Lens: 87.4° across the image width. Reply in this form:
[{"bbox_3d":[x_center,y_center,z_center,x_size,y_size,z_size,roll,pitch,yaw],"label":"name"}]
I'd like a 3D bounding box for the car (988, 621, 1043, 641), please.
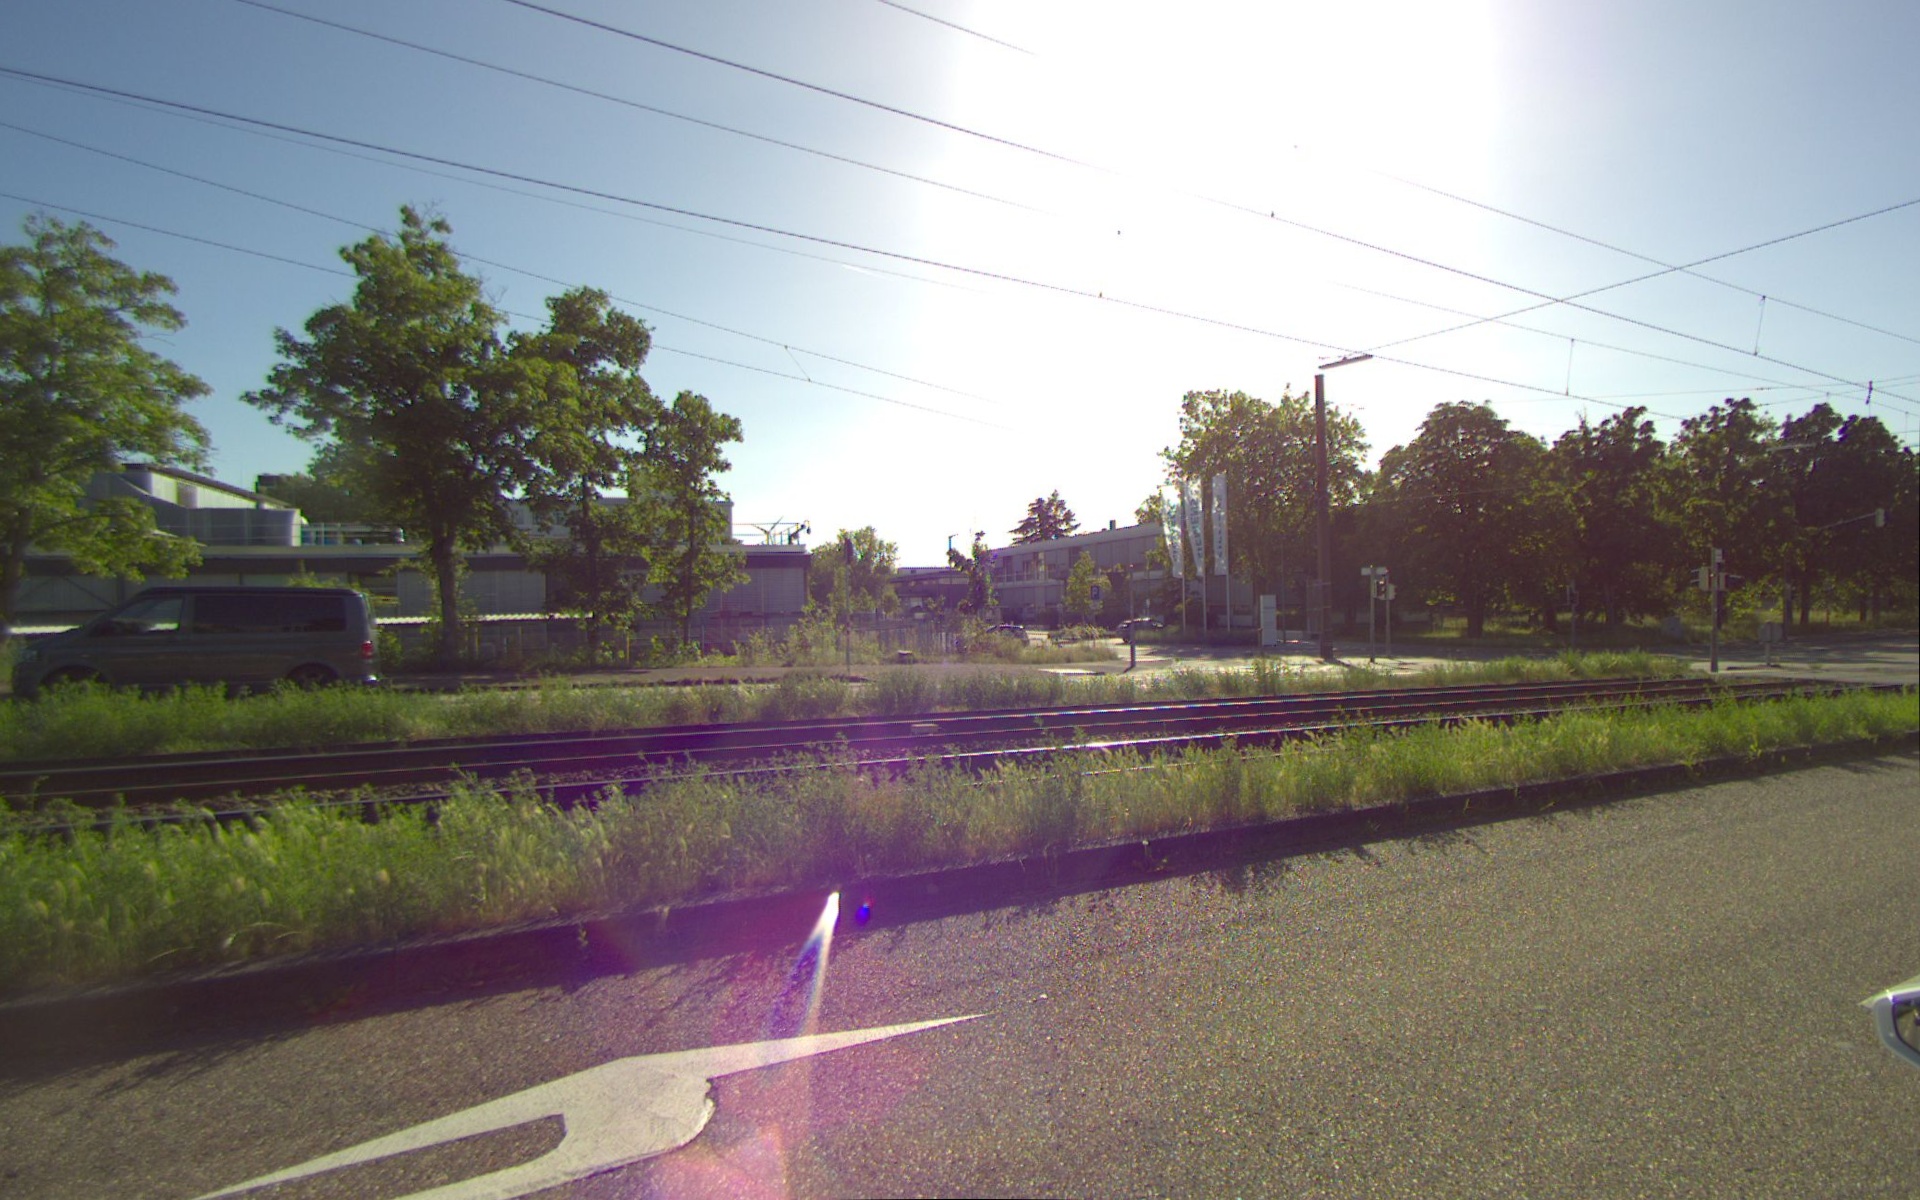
[{"bbox_3d":[4.231,2.337,77.147,3.893,1.471,1.688,0,0,-21],"label":"car"}]

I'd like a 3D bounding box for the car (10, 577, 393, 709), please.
[{"bbox_3d":[-12.156,0.641,16.630,4.731,1.916,2.188,0,0,-28],"label":"car"}]

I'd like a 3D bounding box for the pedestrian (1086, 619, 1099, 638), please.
[{"bbox_3d":[11.227,2.384,84.989,0.811,1.549,0.761,0,0,-20],"label":"pedestrian"}]

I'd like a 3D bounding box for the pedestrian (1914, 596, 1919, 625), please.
[{"bbox_3d":[66.871,0.714,69.634,0.853,2.040,0.835,0,0,-31],"label":"pedestrian"}]

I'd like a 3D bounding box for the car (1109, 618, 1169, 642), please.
[{"bbox_3d":[11.941,1.964,67.034,3.817,1.508,1.682,0,0,-31],"label":"car"}]
